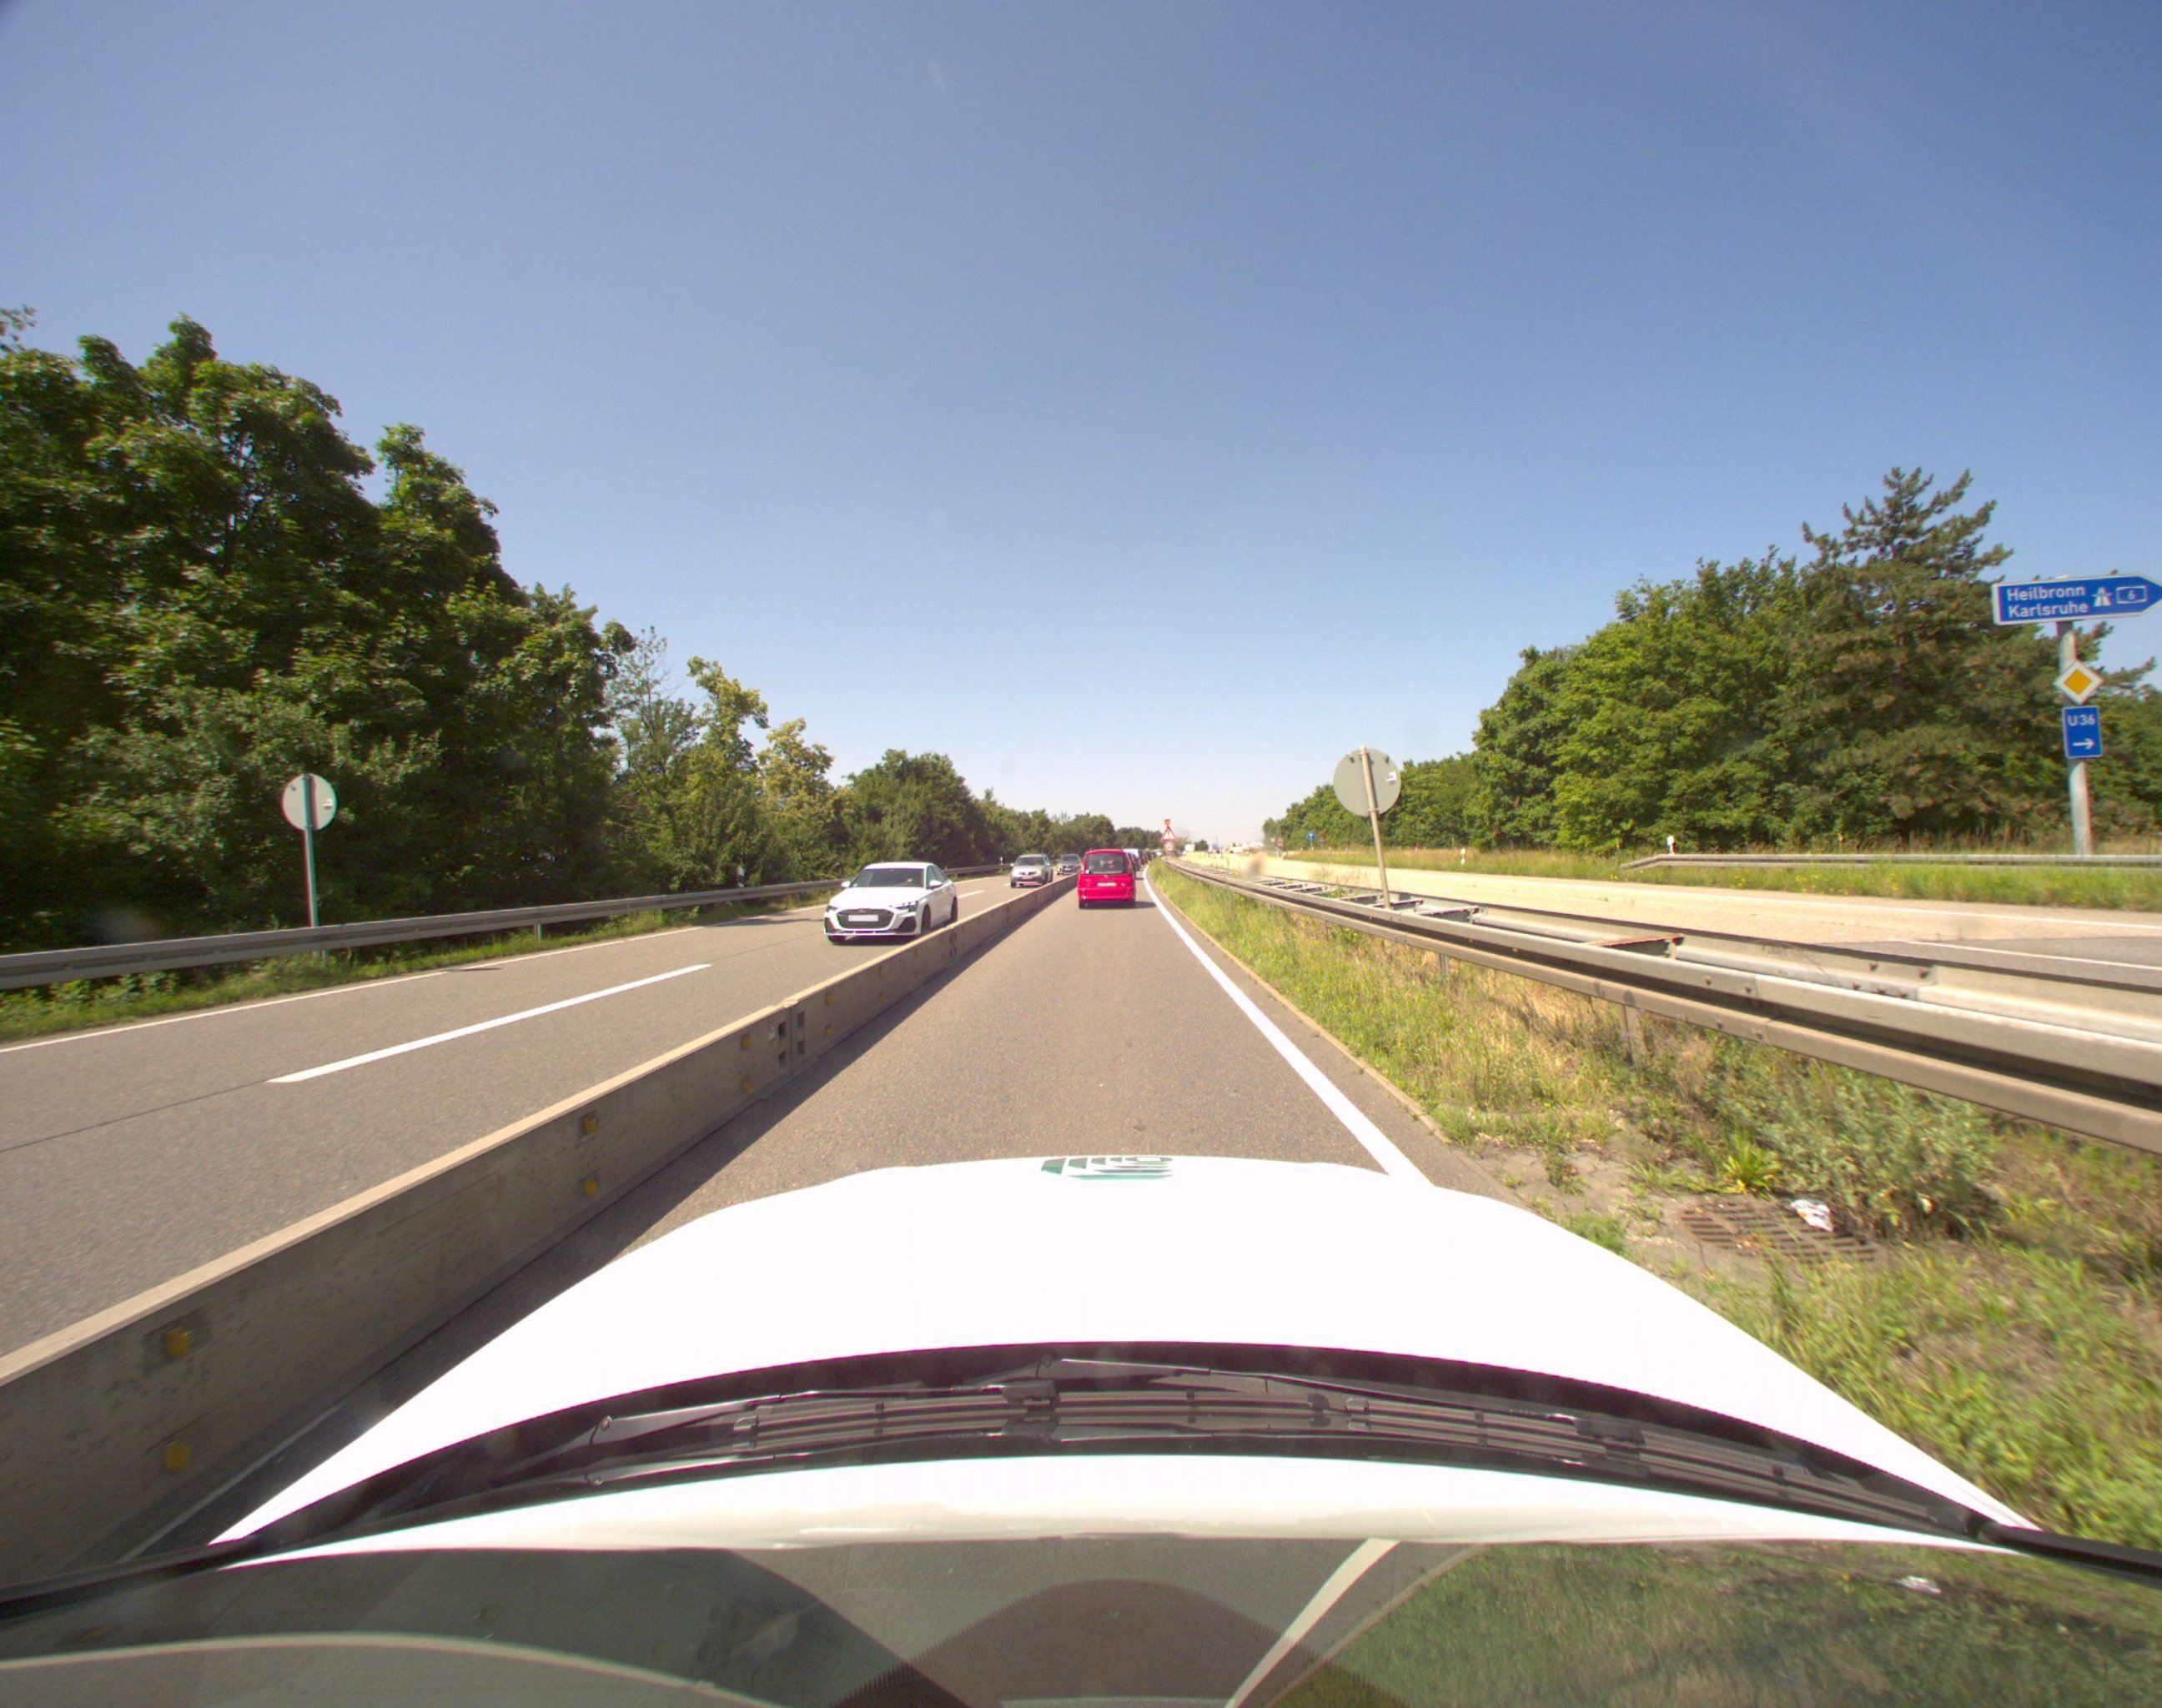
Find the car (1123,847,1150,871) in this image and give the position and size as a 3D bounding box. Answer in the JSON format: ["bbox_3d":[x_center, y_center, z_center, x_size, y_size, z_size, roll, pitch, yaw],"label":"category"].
[{"bbox_3d":[4.528,0.388,66.894,1.986,1.838,4.002,-2,0,2],"label":"car"}]

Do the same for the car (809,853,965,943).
[{"bbox_3d":[-3.684,0.771,16.332,1.942,1.539,4.437,-1,0,1],"label":"car"}]

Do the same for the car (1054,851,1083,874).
[{"bbox_3d":[-0.888,0.640,59.528,1.942,1.579,4.435,-2,0,0],"label":"car"}]

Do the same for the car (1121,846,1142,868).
[{"bbox_3d":[4.967,0.285,79.790,1.985,2.003,4.003,-1,0,3],"label":"car"}]

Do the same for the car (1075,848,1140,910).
[{"bbox_3d":[0.769,0.697,24.405,1.745,1.673,4.001,-1,0,1],"label":"car"}]

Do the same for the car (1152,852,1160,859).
[{"bbox_3d":[13.870,0.295,150.462,1.413,1.298,2.885,-2,0,8],"label":"car"}]

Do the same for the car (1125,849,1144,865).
[{"bbox_3d":[6.083,0.349,92.249,1.986,1.750,4.002,-2,0,2],"label":"car"}]

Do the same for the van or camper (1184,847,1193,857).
[{"bbox_3d":[31.104,-0.463,235.670,2.318,2.707,4.597,-2,0,3],"label":"van or camper"}]

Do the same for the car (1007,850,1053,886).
[{"bbox_3d":[-2.414,0.665,39.493,1.822,1.630,3.786,-2,0,2],"label":"car"}]

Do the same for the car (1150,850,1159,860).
[{"bbox_3d":[12.349,0.163,136.751,1.494,1.736,3.175,-1,0,6],"label":"car"}]

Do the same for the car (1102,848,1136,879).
[{"bbox_3d":[2.175,0.541,47.737,1.824,1.722,4.000,-2,0,1],"label":"car"}]

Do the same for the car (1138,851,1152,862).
[{"bbox_3d":[9.627,0.344,121.696,1.984,1.585,4.005,-1,0,5],"label":"car"}]
